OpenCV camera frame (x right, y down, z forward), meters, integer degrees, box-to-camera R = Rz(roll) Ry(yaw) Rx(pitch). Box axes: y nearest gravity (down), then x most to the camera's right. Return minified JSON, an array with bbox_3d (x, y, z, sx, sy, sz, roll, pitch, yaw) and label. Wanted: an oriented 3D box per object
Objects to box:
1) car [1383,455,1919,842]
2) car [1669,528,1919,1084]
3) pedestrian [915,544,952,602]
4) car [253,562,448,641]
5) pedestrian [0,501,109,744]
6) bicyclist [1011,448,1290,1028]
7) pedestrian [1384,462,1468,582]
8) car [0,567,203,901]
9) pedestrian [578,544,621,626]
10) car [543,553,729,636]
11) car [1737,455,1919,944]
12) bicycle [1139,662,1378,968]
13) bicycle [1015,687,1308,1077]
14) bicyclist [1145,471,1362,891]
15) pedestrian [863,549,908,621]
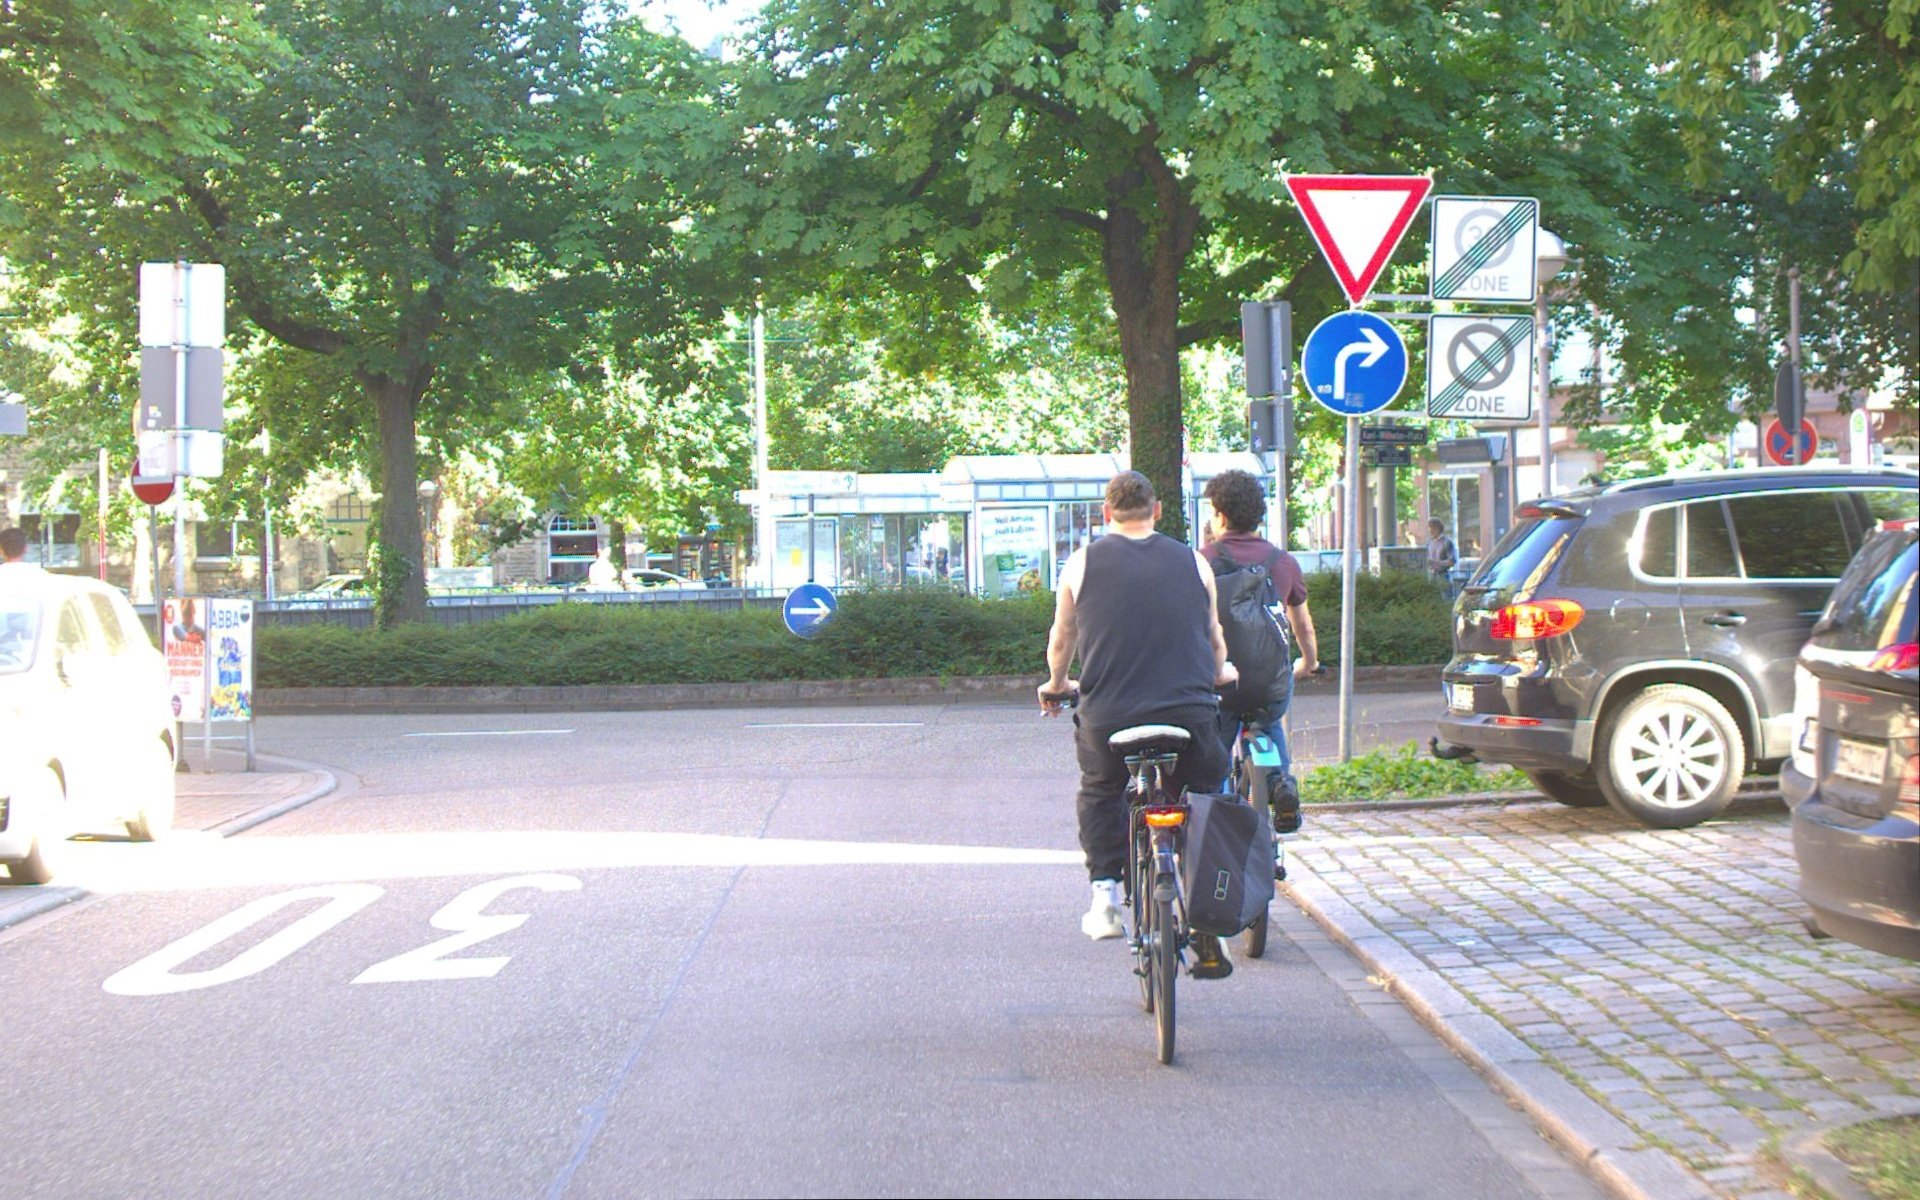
[{"bbox_3d":[4.365,0.150,17.059,4.105,1.707,2.024,-2,2,-5],"label":"car"},{"bbox_3d":[4.310,0.406,9.832,4.104,1.407,1.792,-4,1,0],"label":"car"},{"bbox_3d":[-0.763,-0.769,98.544,1.000,1.625,1.064,-1,1,-2],"label":"pedestrian"},{"bbox_3d":[-13.965,0.020,78.884,3.938,1.673,1.953,-2,1,-44],"label":"car"},{"bbox_3d":[-6.427,0.150,23.732,0.867,1.637,0.860,-1,1,-1],"label":"pedestrian"},{"bbox_3d":[0.564,0.396,10.500,0.752,1.676,0.913,-1,1,-1],"label":"bicyclist"},{"bbox_3d":[6.655,-1.114,49.085,0.898,1.678,0.818,-1,1,33],"label":"pedestrian"},{"bbox_3d":[-5.100,0.583,17.434,1.705,1.480,3.797,1,1,-1],"label":"car"},{"bbox_3d":[-7.488,-0.312,71.332,0.701,1.689,0.671,1,1,-22],"label":"pedestrian"},{"bbox_3d":[-7.836,-0.150,83.060,3.986,1.864,2.000,-2,1,-26],"label":"car"},{"bbox_3d":[4.825,0.291,12.359,3.693,1.645,1.704,-1,1,3],"label":"car"},{"bbox_3d":[1.107,0.776,13.162,0.674,1.050,2.061,-1,-1,-1],"label":"bicycle"},{"bbox_3d":[0.576,0.808,10.560,0.737,1.008,2.061,1,0,-1],"label":"bicycle"},{"bbox_3d":[1.093,0.294,13.013,0.671,1.509,1.069,-1,0,-1],"label":"bicyclist"},{"bbox_3d":[-1.599,-0.329,73.917,0.809,1.538,0.821,1,1,-12],"label":"pedestrian"}]
